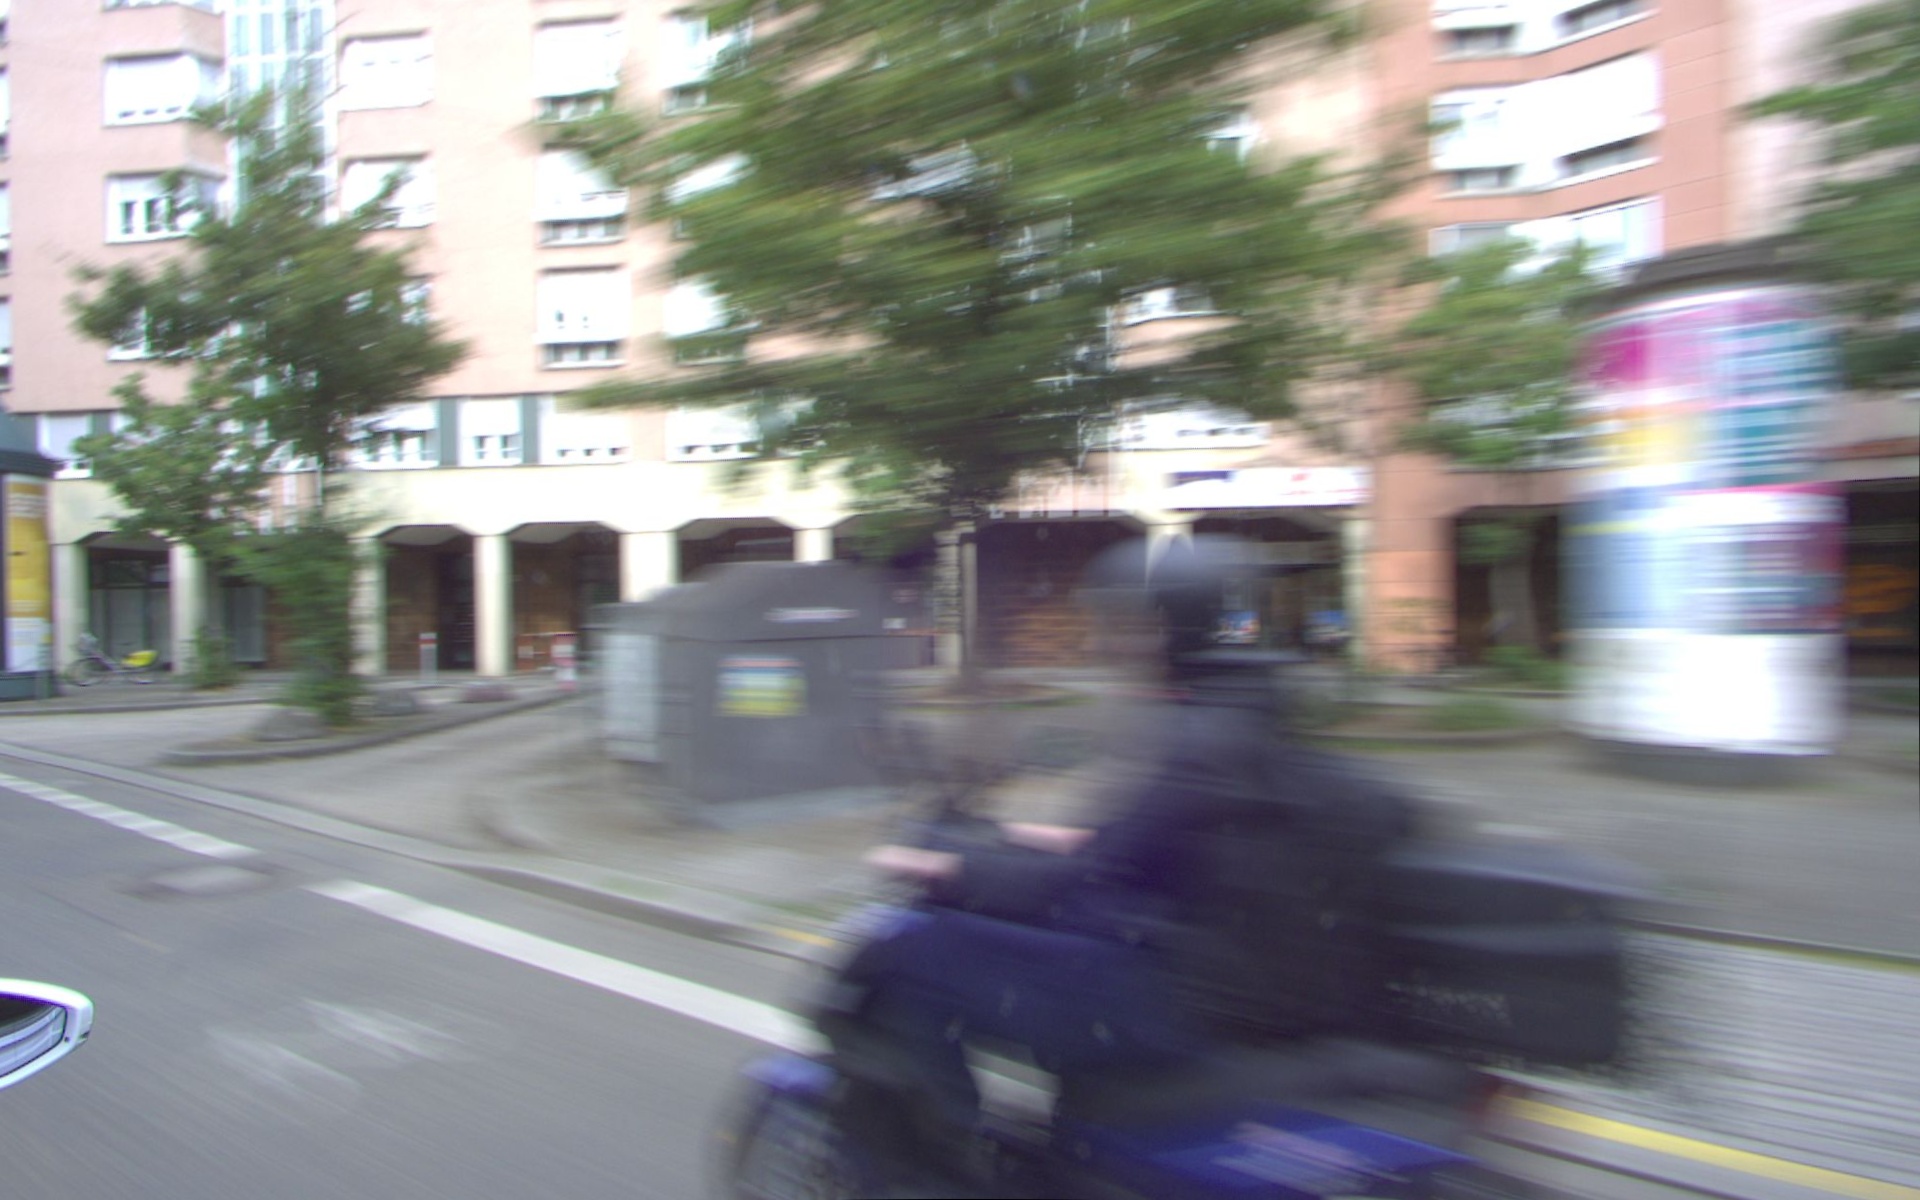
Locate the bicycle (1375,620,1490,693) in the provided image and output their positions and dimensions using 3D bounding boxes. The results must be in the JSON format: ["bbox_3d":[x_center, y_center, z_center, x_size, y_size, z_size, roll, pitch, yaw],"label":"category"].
[{"bbox_3d":[7.773,0.903,16.565,0.586,1.127,1.961,0,-1,-15],"label":"bicycle"}]

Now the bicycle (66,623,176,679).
[{"bbox_3d":[-17.938,1.076,21.449,1.636,1.143,0.669,-1,0,-20],"label":"bicycle"}]

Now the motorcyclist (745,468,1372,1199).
[{"bbox_3d":[0.228,0.597,1.962,1.002,1.539,0.759,-1,0,28],"label":"motorcyclist"}]

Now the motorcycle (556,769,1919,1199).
[{"bbox_3d":[0.296,1.007,1.937,2.174,1.122,0.767,-1,0,28],"label":"motorcycle"}]

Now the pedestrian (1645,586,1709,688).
[{"bbox_3d":[12.102,0.614,16.900,0.841,1.684,0.530,0,0,41],"label":"pedestrian"}]
